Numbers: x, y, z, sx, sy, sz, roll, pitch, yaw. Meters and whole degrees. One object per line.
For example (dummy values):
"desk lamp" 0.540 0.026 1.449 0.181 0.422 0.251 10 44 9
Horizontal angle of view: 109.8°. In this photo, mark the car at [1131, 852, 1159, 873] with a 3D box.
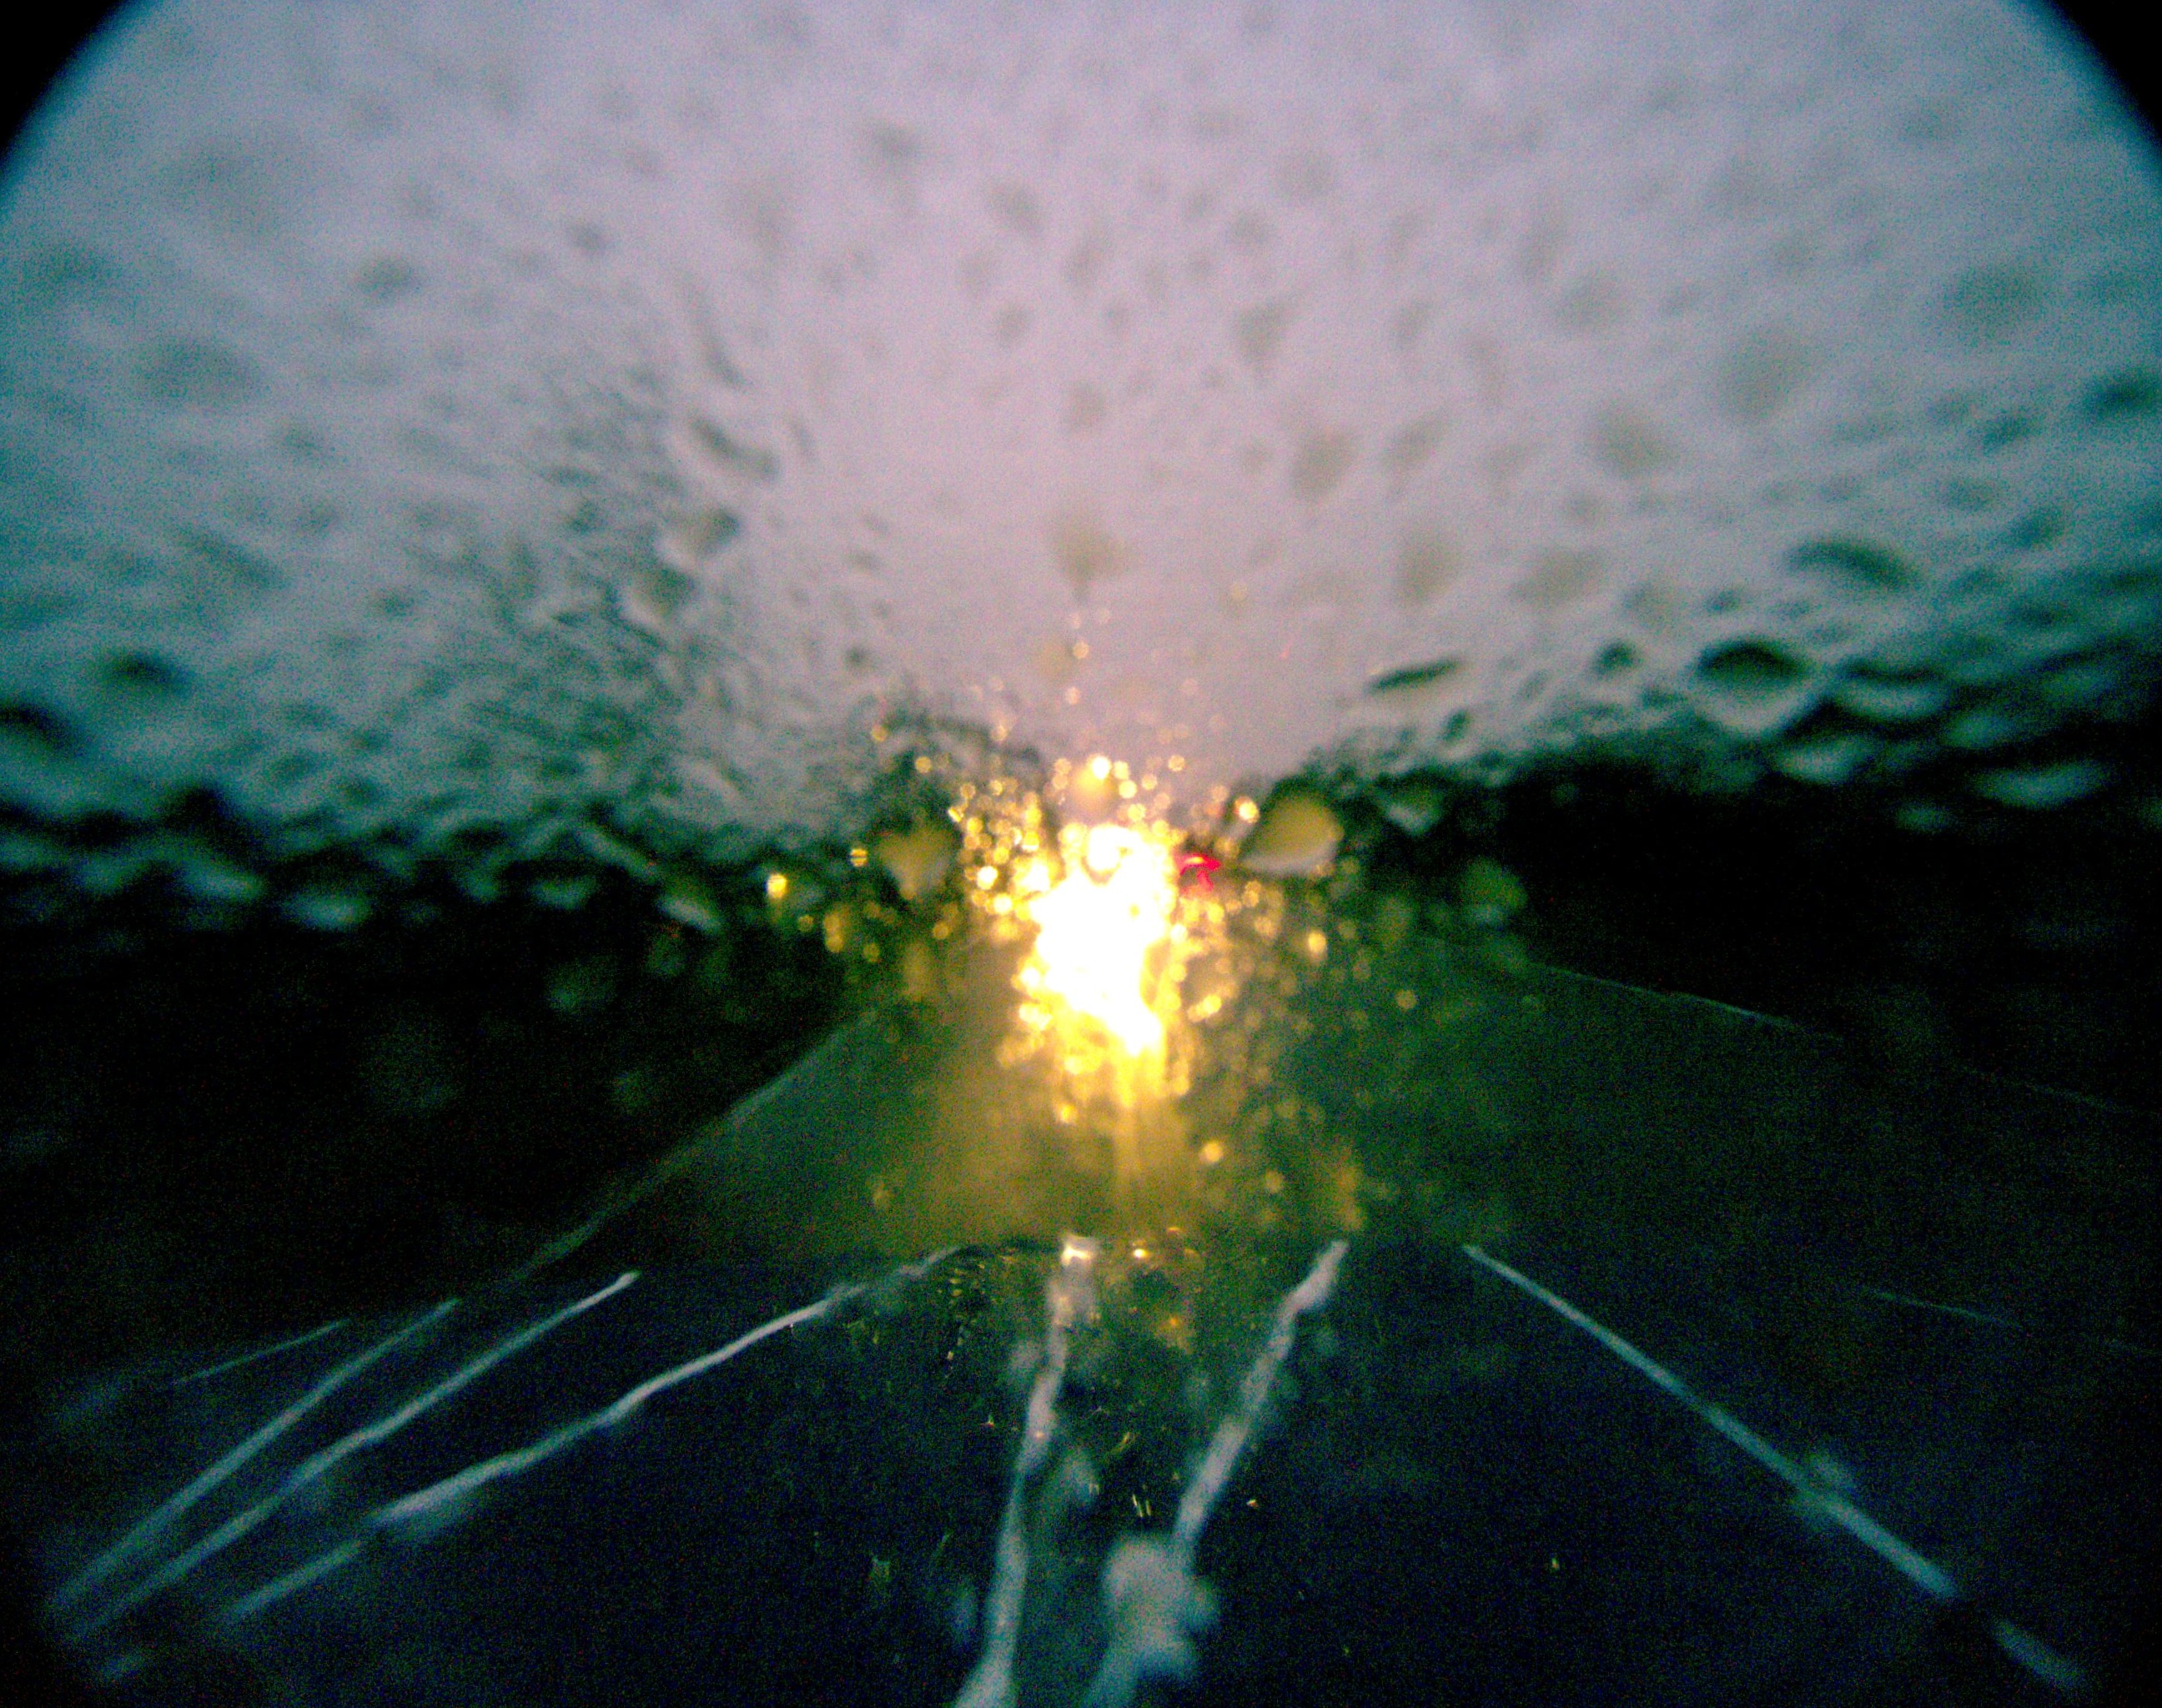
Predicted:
"car" 4.931 0.618 58.910 1.830 1.490 4.095 -1 0 0

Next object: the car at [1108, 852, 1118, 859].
"car" 6.996 0.242 167.577 1.821 1.433 3.457 -2 0 8

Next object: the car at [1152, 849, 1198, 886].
"car" 4.602 0.609 37.761 1.763 1.631 4.686 -2 0 2

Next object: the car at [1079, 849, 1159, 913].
"car" 1.146 0.689 21.659 1.998 1.601 4.001 -2 0 5

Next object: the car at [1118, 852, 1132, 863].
"car" 6.023 0.455 105.112 1.755 1.465 3.891 -1 0 1
